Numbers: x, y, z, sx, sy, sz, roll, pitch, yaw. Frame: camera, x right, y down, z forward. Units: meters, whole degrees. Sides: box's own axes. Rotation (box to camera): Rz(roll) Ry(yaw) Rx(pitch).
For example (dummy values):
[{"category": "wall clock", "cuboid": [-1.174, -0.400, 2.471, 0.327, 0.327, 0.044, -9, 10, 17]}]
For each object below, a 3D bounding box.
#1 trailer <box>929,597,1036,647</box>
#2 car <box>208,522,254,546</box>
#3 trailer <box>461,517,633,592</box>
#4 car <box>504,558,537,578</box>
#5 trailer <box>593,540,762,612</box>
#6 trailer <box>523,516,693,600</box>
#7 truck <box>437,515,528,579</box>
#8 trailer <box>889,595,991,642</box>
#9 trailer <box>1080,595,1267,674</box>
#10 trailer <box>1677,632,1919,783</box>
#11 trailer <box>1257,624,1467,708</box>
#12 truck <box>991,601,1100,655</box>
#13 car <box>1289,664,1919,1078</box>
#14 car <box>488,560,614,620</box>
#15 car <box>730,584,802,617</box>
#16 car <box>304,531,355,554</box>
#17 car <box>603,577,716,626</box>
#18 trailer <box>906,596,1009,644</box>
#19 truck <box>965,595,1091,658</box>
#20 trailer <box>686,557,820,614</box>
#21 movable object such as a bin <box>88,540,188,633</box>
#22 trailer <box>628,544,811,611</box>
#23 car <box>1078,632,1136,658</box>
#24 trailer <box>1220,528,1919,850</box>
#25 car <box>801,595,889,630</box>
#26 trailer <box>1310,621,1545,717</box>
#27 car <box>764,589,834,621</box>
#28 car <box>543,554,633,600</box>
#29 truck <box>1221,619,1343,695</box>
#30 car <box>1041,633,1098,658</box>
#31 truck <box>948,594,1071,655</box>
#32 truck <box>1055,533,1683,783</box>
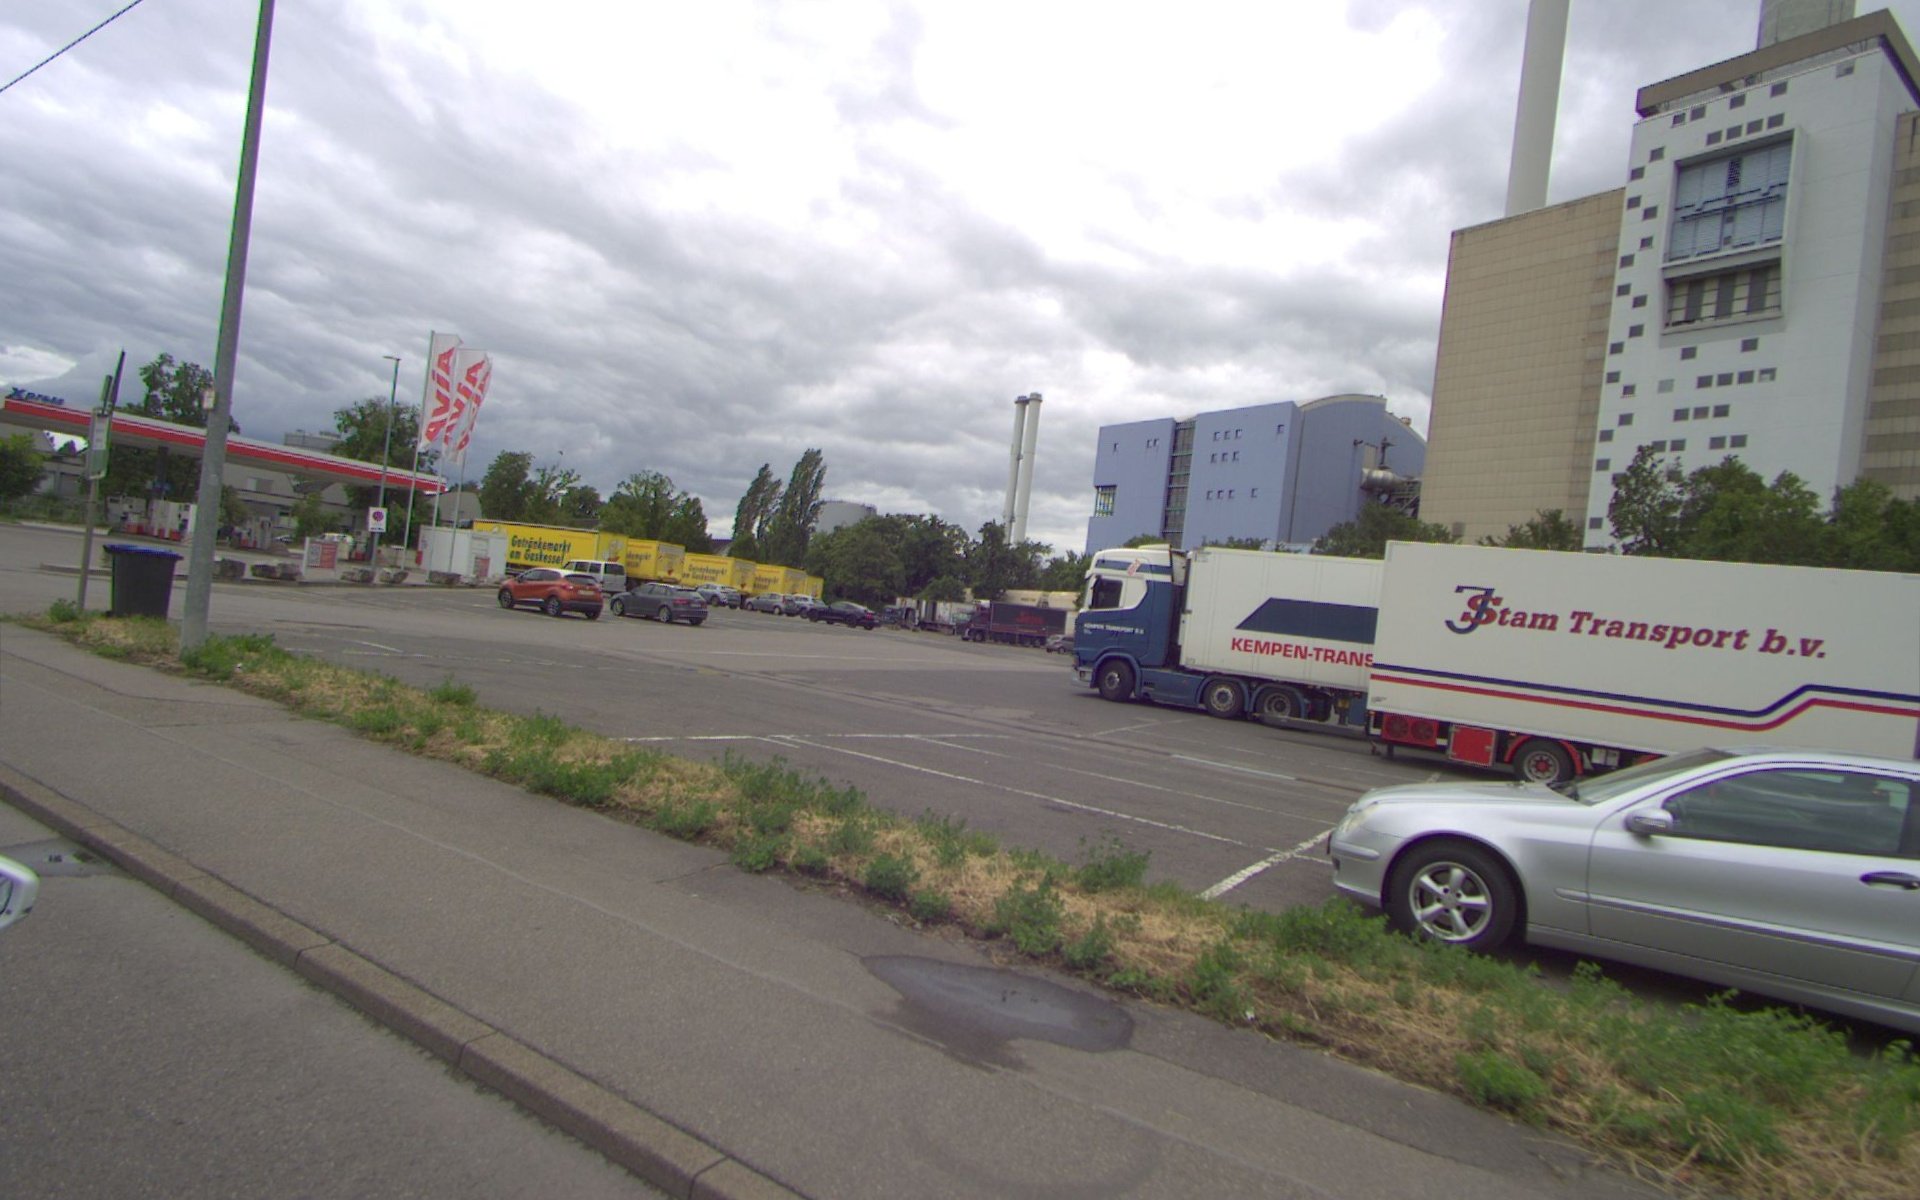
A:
[{"category": "trailer", "cuboid": [2.711, 2.622, 116.913, 12.463, 4.353, 3.527, 8, -2, -34]}, {"category": "car", "cuboid": [-60.579, -5.508, 83.597, 3.821, 1.549, 1.734, 6, 0, 33]}, {"category": "trailer", "cuboid": [-29.179, -3.258, 70.606, 14.062, 3.963, 3.004, 6, 0, 31]}, {"category": "car", "cuboid": [-44.394, -3.244, 101.649, 1.988, 1.671, 4.557, 7, -1, -37]}, {"category": "trailer", "cuboid": [-23.097, -2.018, 81.335, 15.461, 4.313, 3.024, 6, 0, 31]}, {"category": "trailer", "cuboid": [-25.852, -3.148, 73.298, 14.062, 4.781, 3.004, 6, 0, 31]}, {"category": "truck", "cuboid": [-35.251, -3.914, 74.232, 5.940, 3.963, 2.961, 6, 0, 31]}, {"category": "trailer", "cuboid": [-2.415, 2.338, 126.107, 12.463, 4.353, 3.642, 8, -2, -34]}, {"category": "trailer", "cuboid": [18.194, 3.018, 84.067, 18.122, 4.553, 3.527, 8, -2, -34]}, {"category": "trailer", "cuboid": [31.347, 3.858, 31.680, 13.480, 3.958, 3.644, 7, 0, 18]}, {"category": "trailer", "cuboid": [29.185, 4.889, 72.196, 18.314, 4.139, 3.612, 8, -1, -32]}, {"category": "truck", "cuboid": [9.127, 3.056, 106.484, 11.861, 4.341, 2.848, 8, -2, -33]}, {"category": "car", "cuboid": [4.361, 1.404, 5.472, 4.484, 1.481, 1.776, 7, -1, 32]}, {"category": "car", "cuboid": [-13.991, -0.350, 34.366, 4.145, 1.591, 1.767, 6, 0, 31]}, {"category": "car", "cuboid": [-13.376, 0.039, 69.328, 4.611, 1.620, 1.986, 7, -1, 31]}, {"category": "car", "cuboid": [-57.156, -5.213, 91.139, 4.576, 1.665, 1.965, 6, 0, 31]}, {"category": "car", "cuboid": [-11.515, 0.046, 38.481, 4.145, 1.408, 1.766, 6, 1, 31]}, {"category": "trailer", "cuboid": [-0.222, 2.482, 122.700, 12.463, 4.353, 3.527, 8, -2, -34]}, {"category": "truck", "cuboid": [6.405, 2.491, 92.456, 11.861, 4.341, 2.848, 8, -2, -33]}, {"category": "trailer", "cuboid": [-19.179, -1.396, 92.620, 13.460, 3.963, 2.694, 6, 0, 31]}, {"category": "movable object such as a bin", "cuboid": [-10.748, -0.164, 13.168, 0.651, 1.094, 0.716, 7, 0, 25]}, {"category": "trailer", "cuboid": [-20.453, -2.017, 84.131, 17.769, 3.963, 2.694, 6, 0, 31]}, {"category": "car", "cuboid": [12.484, 3.808, 85.311, 4.649, 1.620, 1.970, 8, -1, -36]}, {"category": "trailer", "cuboid": [10.358, 1.134, 18.168, 10.239, 4.018, 2.957, 6, 1, 34]}, {"category": "car", "cuboid": [-6.516, 0.710, 56.785, 4.606, 1.385, 1.986, 7, -1, 31]}, {"category": "trailer", "cuboid": [29.838, 4.513, 63.365, 18.310, 4.223, 3.613, 8, -1, -31]}, {"category": "car", "cuboid": [-11.444, 0.340, 71.304, 4.611, 1.620, 1.986, 7, -1, 31]}, {"category": "car", "cuboid": [-20.840, -1.285, 56.296, 4.868, 1.935, 1.986, 7, 0, 31]}, {"category": "truck", "cuboid": [21.561, 3.833, 67.327, 7.184, 4.170, 3.680, 8, -1, -32]}, {"category": "car", "cuboid": [9.413, 3.899, 86.258, 4.649, 1.620, 1.970, 8, -1, -36]}, {"category": "truck", "cuboid": [4.786, 2.393, 95.089, 11.861, 4.341, 2.848, 8, -2, -33]}, {"category": "truck", "cuboid": [8.869, 0.965, 23.821, 12.853, 4.018, 3.076, 6, 1, 32]}]
